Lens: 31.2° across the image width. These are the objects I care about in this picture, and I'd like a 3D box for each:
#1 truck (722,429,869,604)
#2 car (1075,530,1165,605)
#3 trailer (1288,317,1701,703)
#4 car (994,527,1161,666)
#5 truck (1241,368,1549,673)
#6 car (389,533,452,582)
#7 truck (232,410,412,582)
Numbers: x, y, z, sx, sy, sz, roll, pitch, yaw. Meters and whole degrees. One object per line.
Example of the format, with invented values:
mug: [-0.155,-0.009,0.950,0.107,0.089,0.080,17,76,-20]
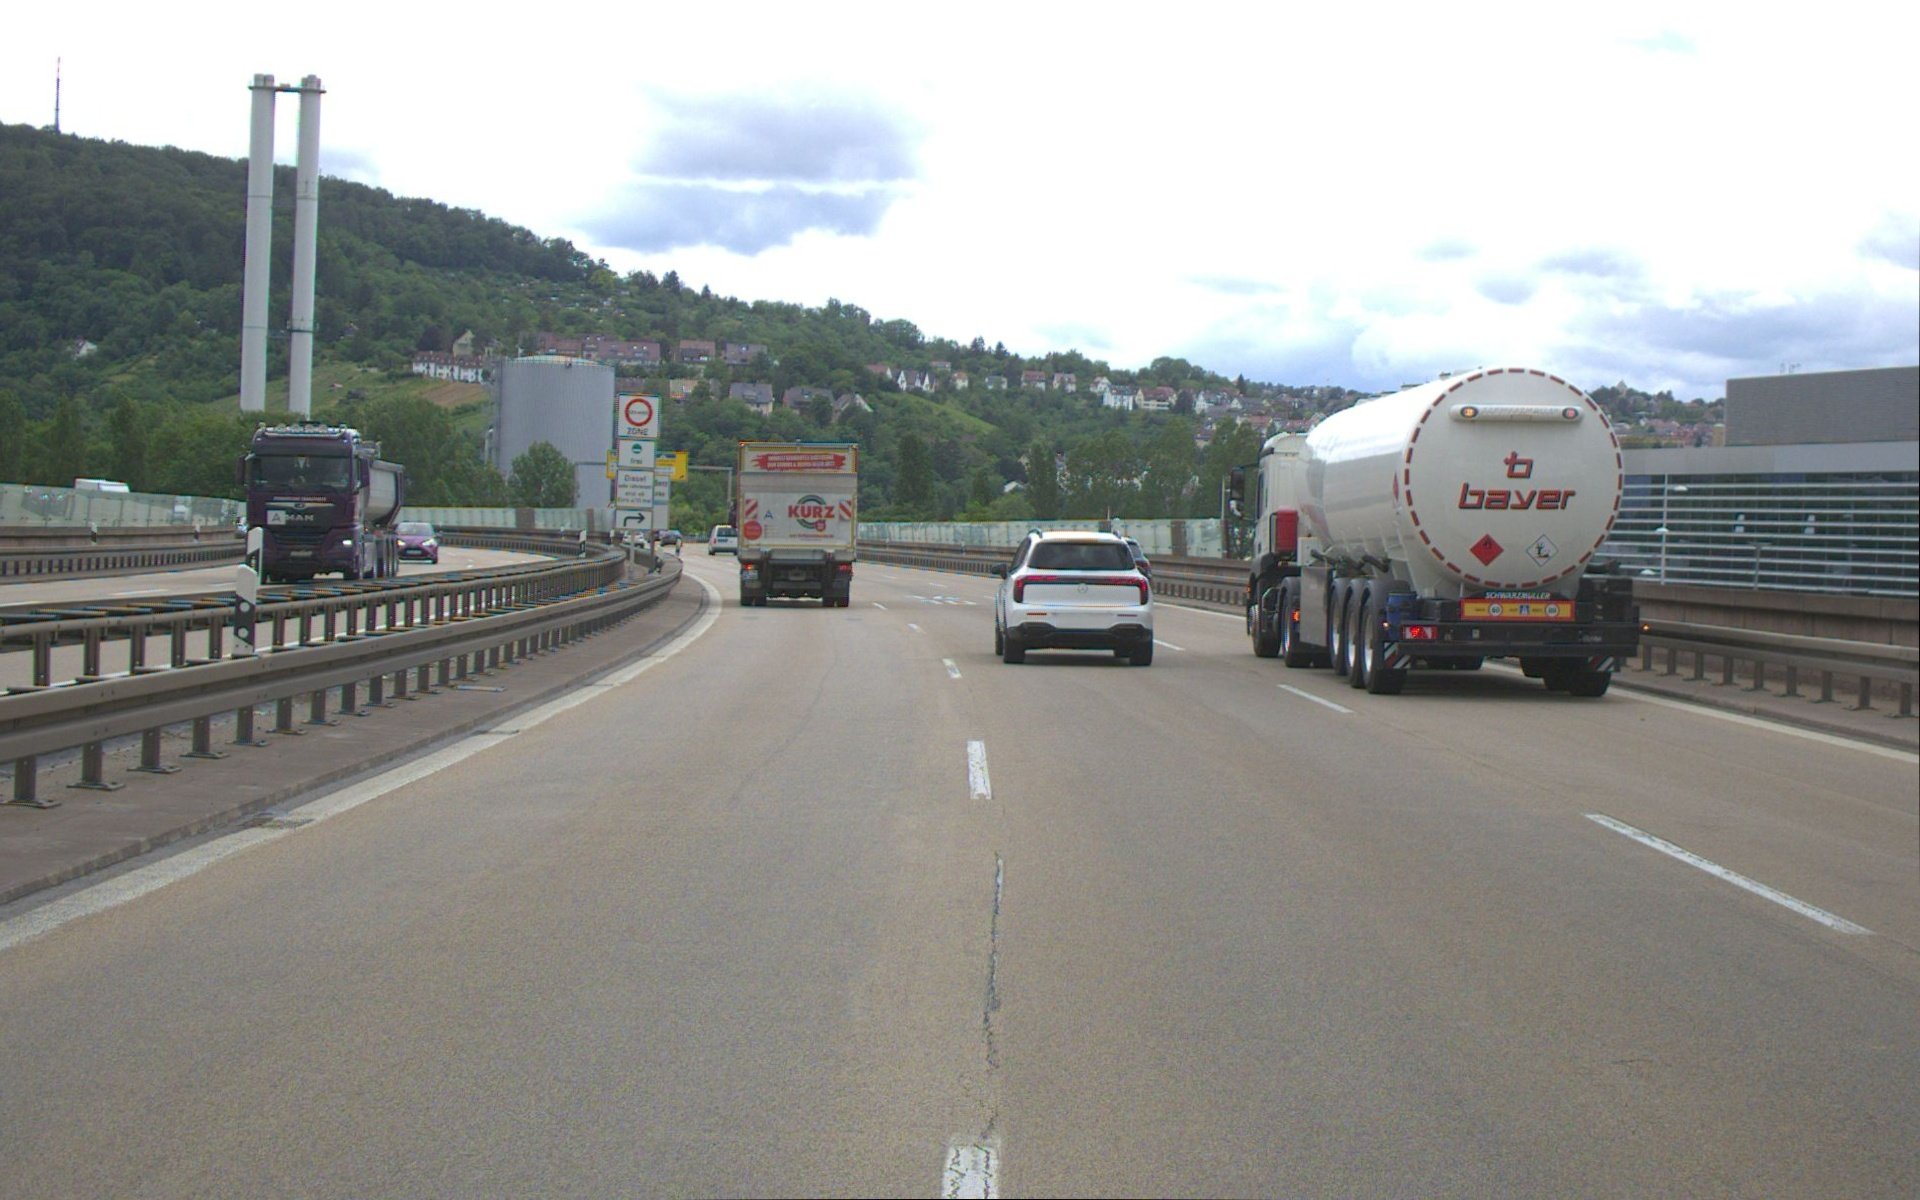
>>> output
truck: [-3.618,-1.832,77.390,3.057,3.678,8.304,1,1,-1]
car: [3.714,-0.754,80.531,1.993,1.669,4.408,1,0,1]
trailer: [5.707,-0.939,38.291,3.057,3.777,8.304,1,1,-1]
car: [1.467,-0.064,44.349,1.993,1.669,4.408,1,0,0]
truck: [5.528,-0.992,44.808,3.014,3.644,6.274,1,0,-1]
car: [-19.079,-1.513,121.676,1.993,1.669,4.409,1,0,-6]
truck: [-15.180,-2.383,82.666,2.810,3.796,12.021,1,1,-4]
